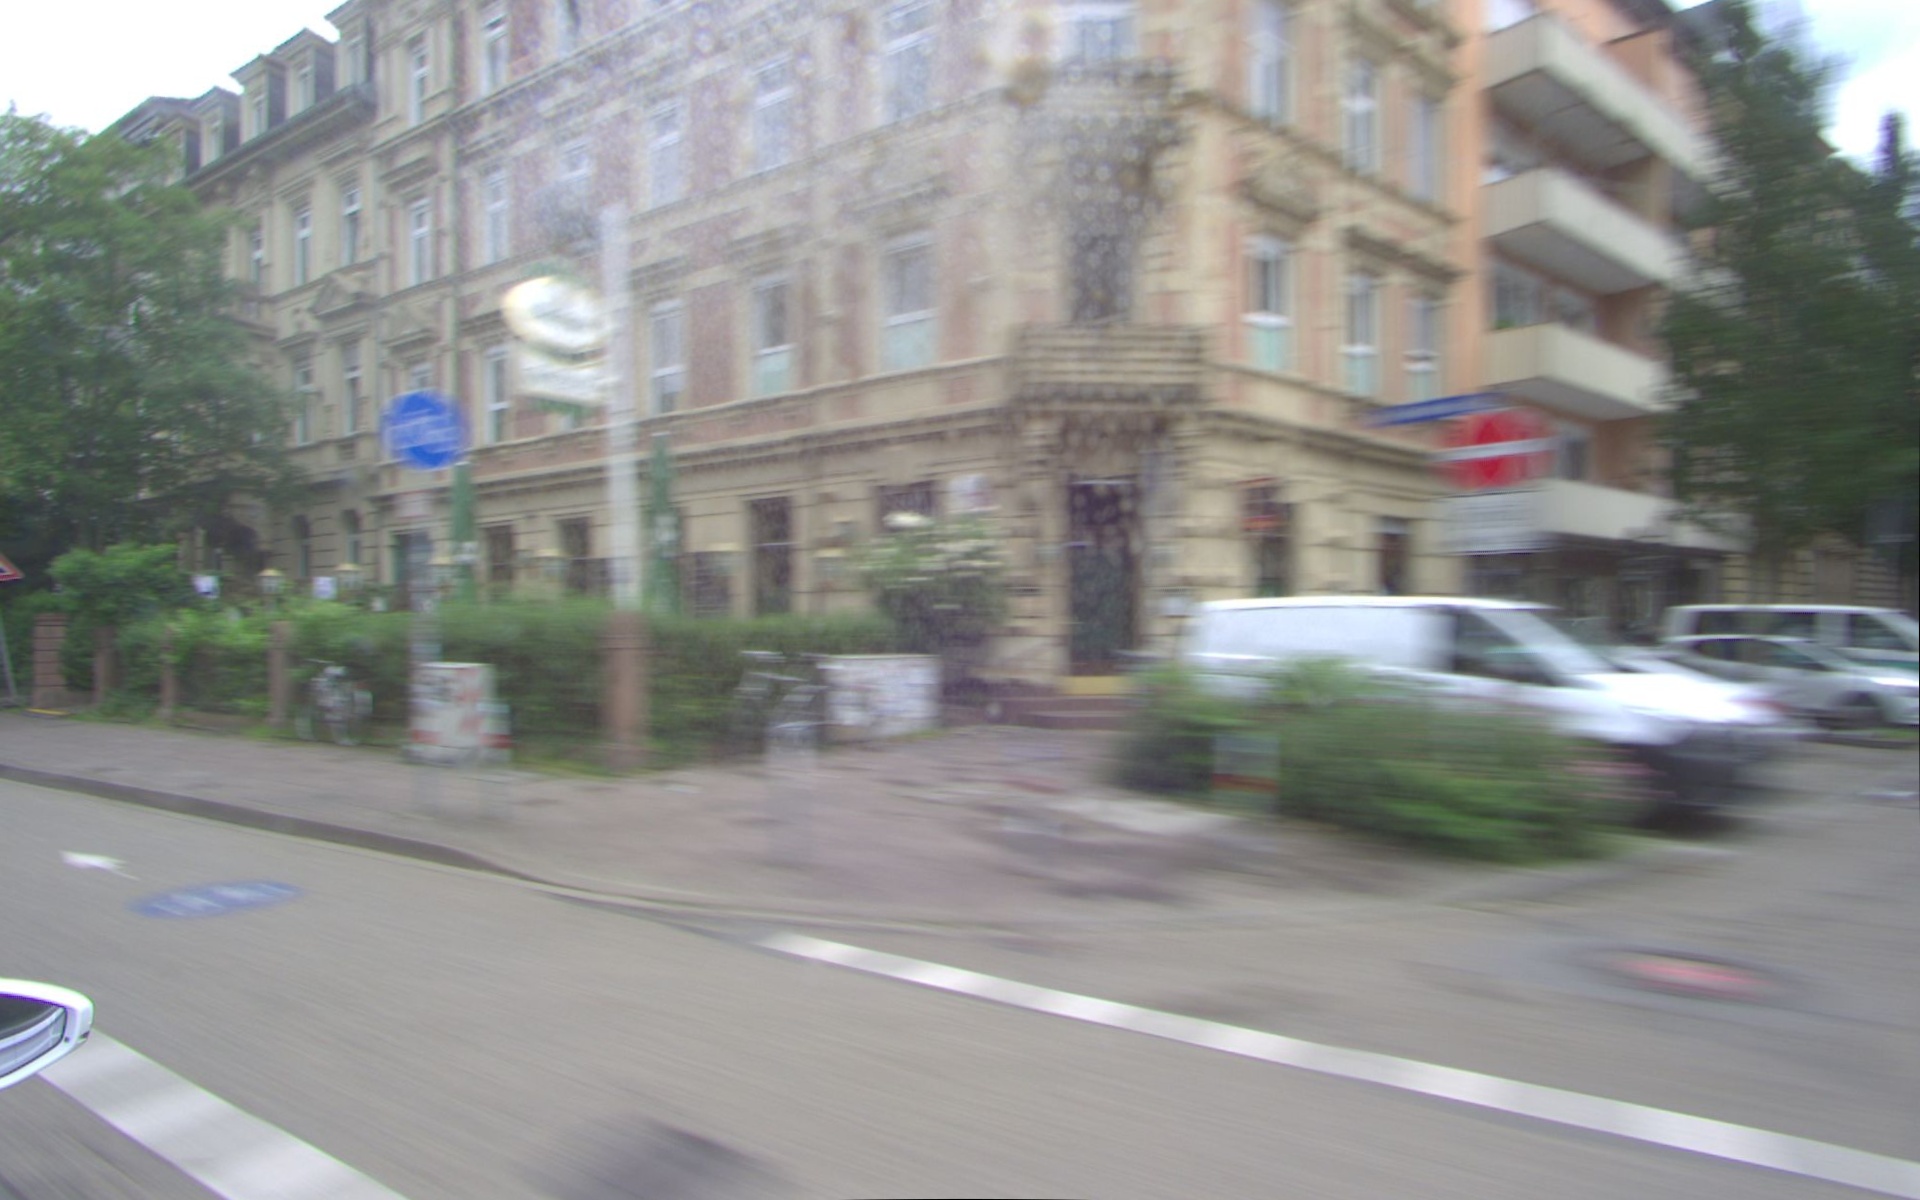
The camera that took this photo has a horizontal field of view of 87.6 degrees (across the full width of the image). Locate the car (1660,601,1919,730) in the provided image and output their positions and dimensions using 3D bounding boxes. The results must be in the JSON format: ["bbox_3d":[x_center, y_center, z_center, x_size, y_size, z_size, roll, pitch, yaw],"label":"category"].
[{"bbox_3d":[15.438,1.104,17.622,1.871,2.071,4.758,0,-2,-36],"label":"car"}]

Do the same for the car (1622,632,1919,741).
[{"bbox_3d":[13.509,1.321,16.305,1.751,1.539,4.189,0,-2,-34],"label":"car"}]

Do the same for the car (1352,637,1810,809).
[{"bbox_3d":[6.589,1.170,10.934,1.684,1.384,3.960,1,0,-44],"label":"car"}]

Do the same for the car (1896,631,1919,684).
[{"bbox_3d":[27.901,1.554,26.752,1.586,1.460,3.976,1,-2,-33],"label":"car"}]

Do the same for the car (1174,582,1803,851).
[{"bbox_3d":[4.725,0.895,9.612,2.038,1.902,4.981,1,-2,-43],"label":"car"}]

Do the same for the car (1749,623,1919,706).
[{"bbox_3d":[19.317,1.292,20.520,1.974,1.631,4.573,1,-2,-34],"label":"car"}]

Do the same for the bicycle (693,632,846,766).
[{"bbox_3d":[-1.970,0.991,10.519,0.507,1.294,1.595,-1,-1,43],"label":"bicycle"}]

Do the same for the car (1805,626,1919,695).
[{"bbox_3d":[22.761,1.404,23.312,1.878,1.572,4.385,1,-2,-33],"label":"car"}]

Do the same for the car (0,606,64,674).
[{"bbox_3d":[-27.695,1.123,27.735,1.783,1.882,3.979,-1,-1,32],"label":"car"}]

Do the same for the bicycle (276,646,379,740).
[{"bbox_3d":[-7.677,1.094,12.122,1.822,1.055,0.301,-1,-1,33],"label":"bicycle"}]
